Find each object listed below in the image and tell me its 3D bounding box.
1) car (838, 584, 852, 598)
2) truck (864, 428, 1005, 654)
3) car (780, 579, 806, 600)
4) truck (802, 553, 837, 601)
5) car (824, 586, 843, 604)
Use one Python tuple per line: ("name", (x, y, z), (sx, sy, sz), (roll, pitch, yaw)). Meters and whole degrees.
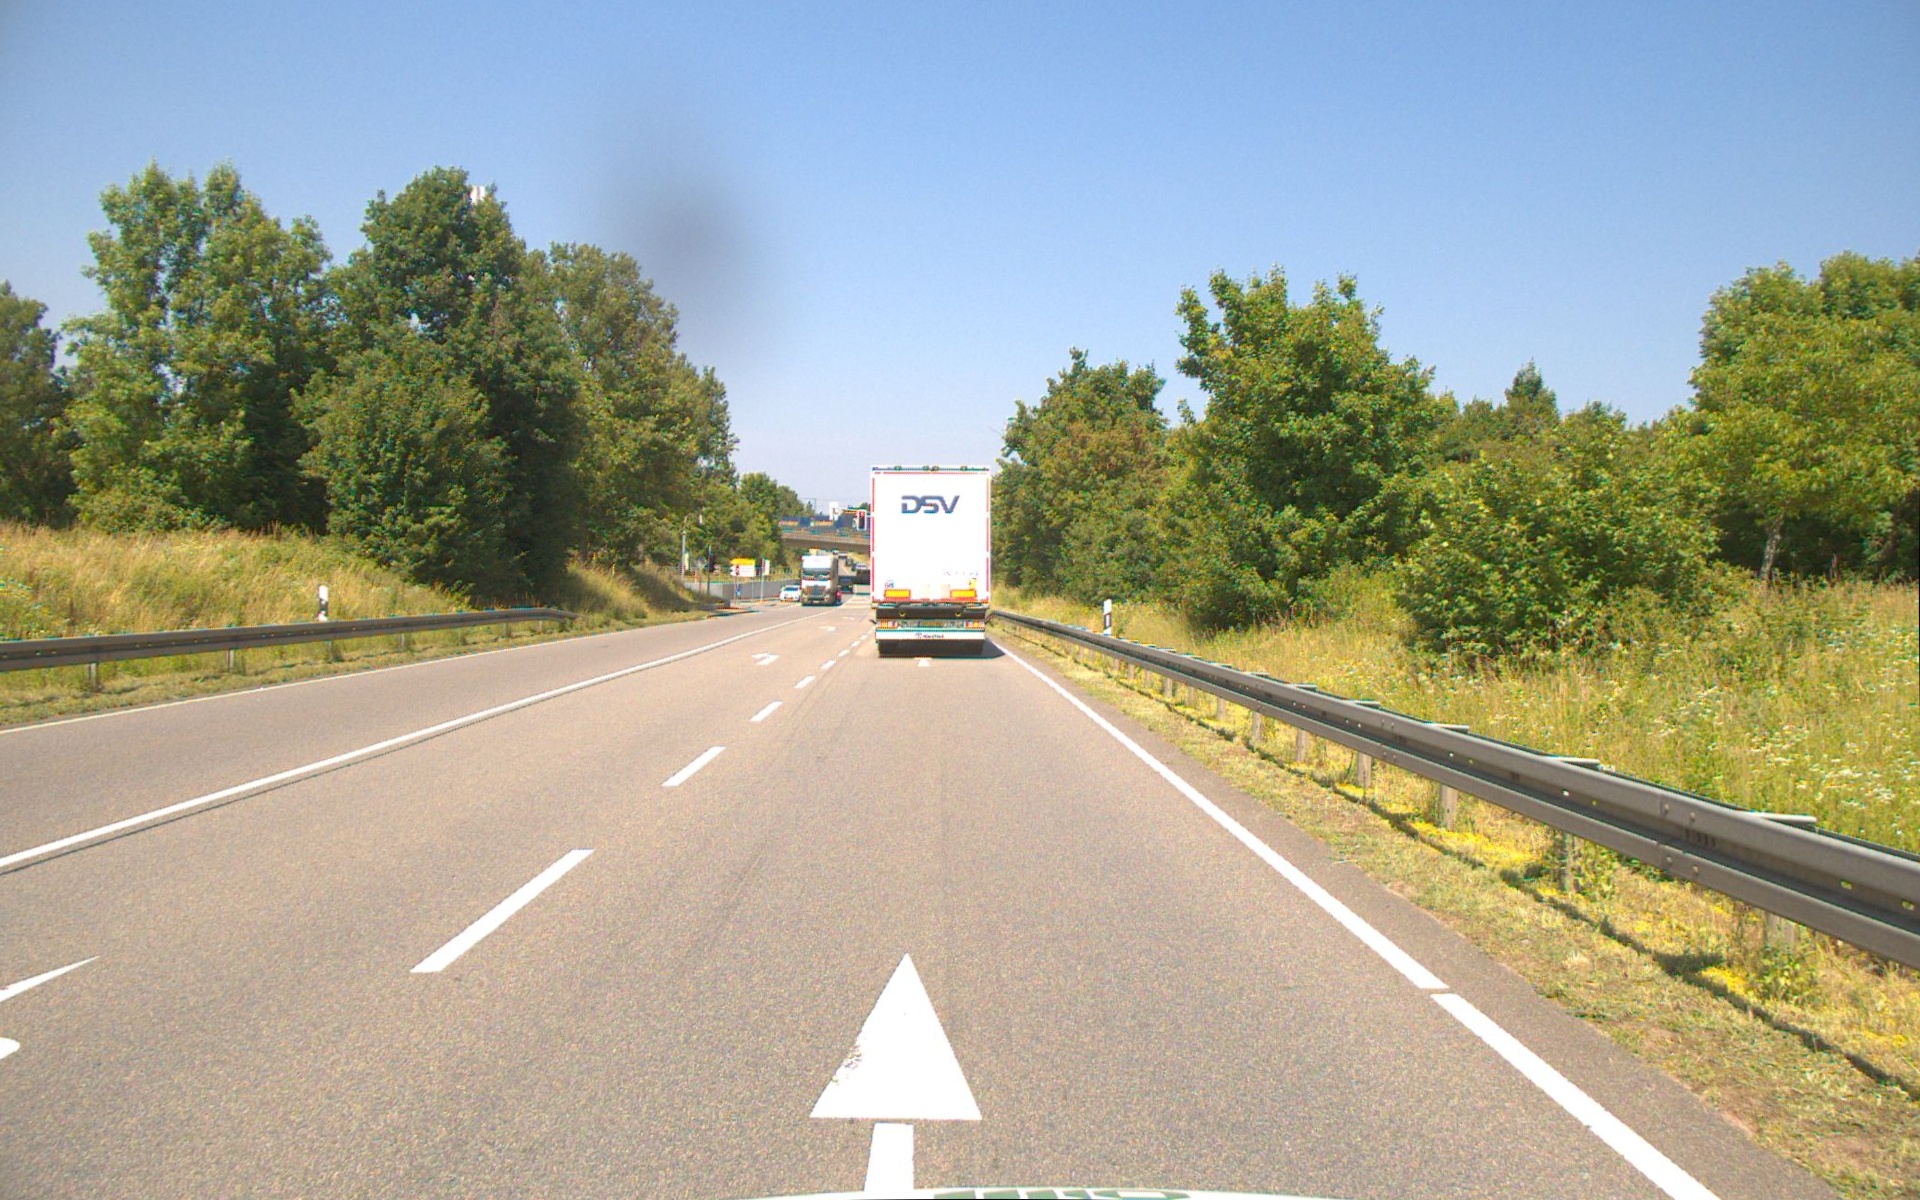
("car", (-14.494, -1.150, 208.257), (1.712, 1.654, 3.702), (0, 1, -2))
("truck", (-0.588, -1.241, 39.097), (2.890, 4.648, 9.861), (0, 0, -1))
("car", (-15.674, -1.027, 155.249), (1.764, 1.904, 4.422), (0, 1, 3))
("truck", (-11.877, -1.955, 140.125), (2.306, 3.815, 12.621), (0, 1, -2))
("car", (-12.057, -0.508, 157.701), (1.712, 1.654, 3.702), (0, 1, -2))
